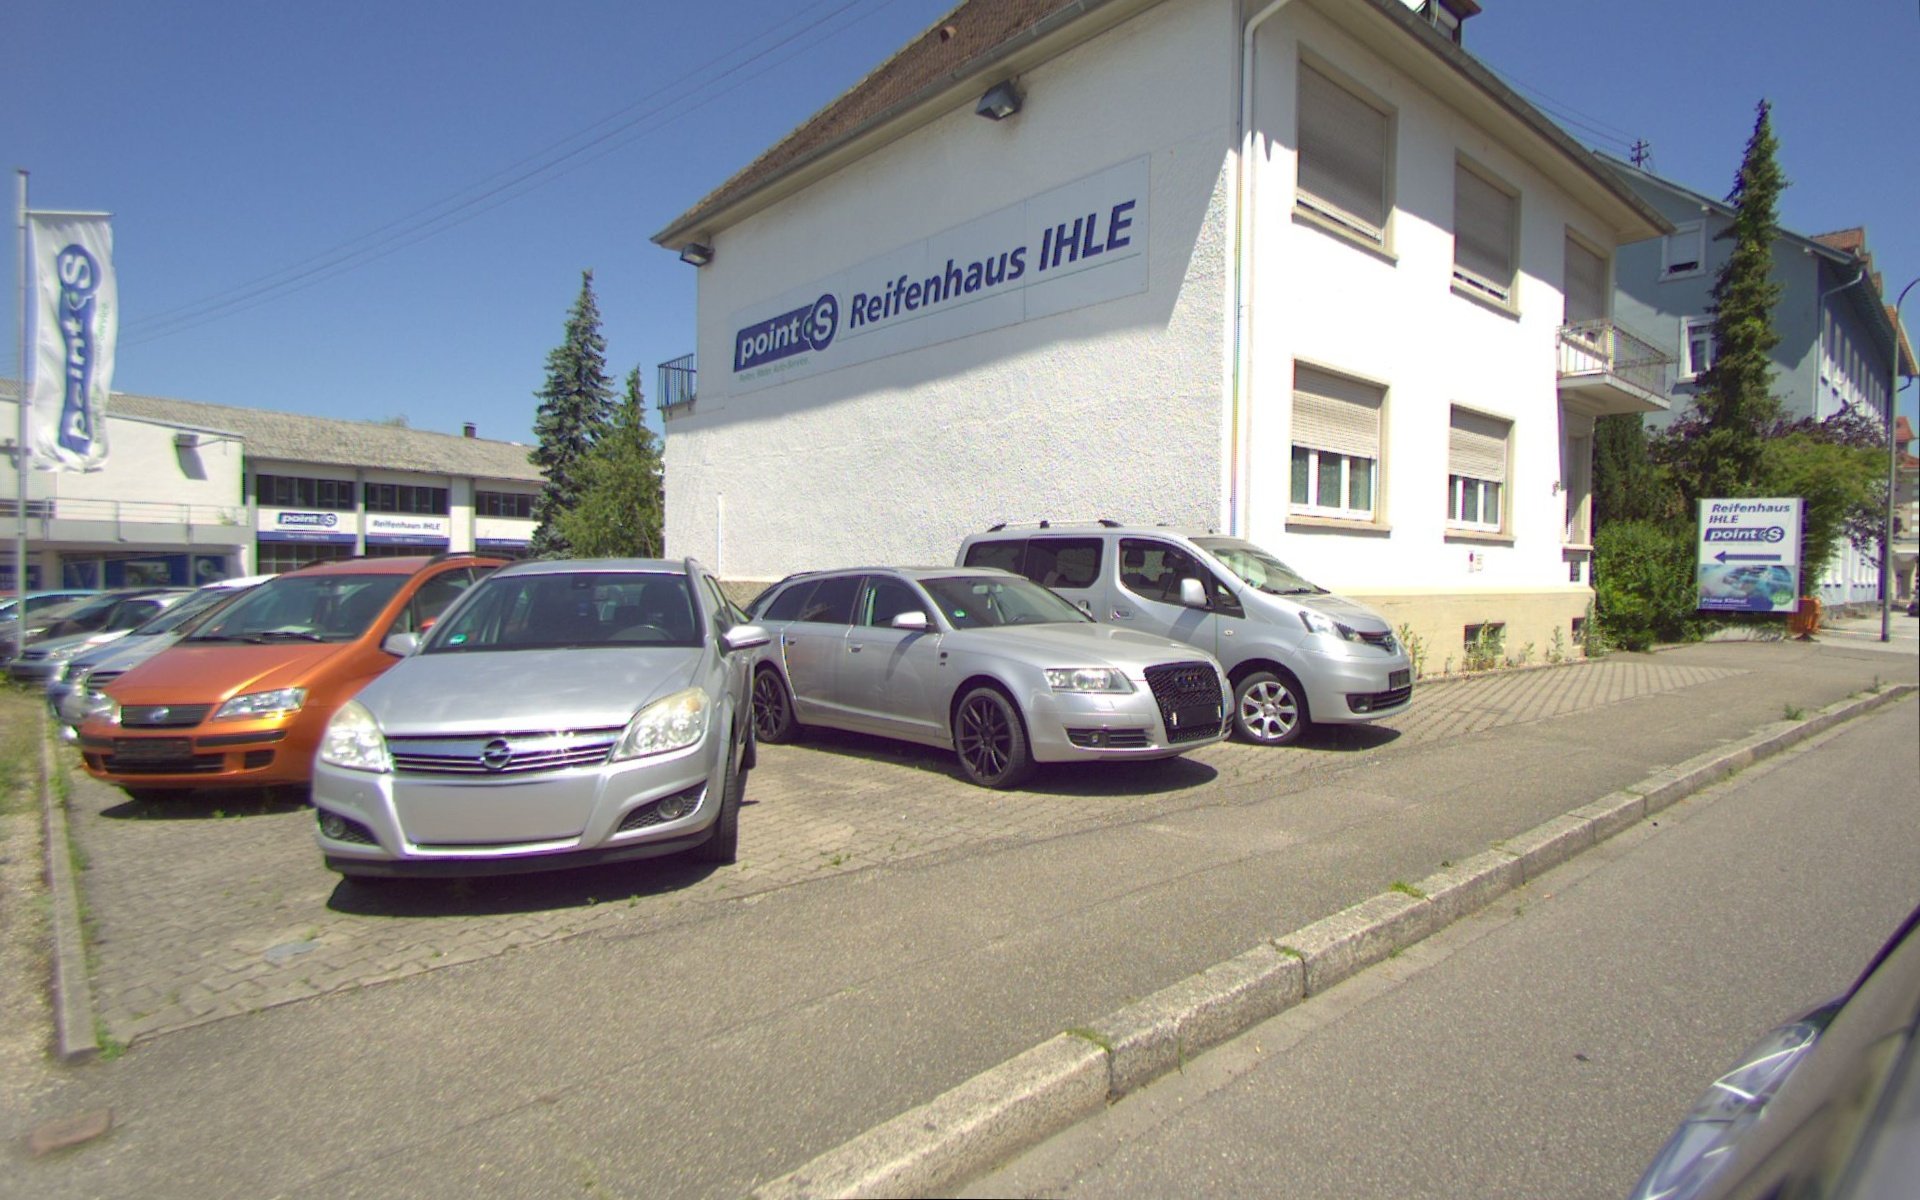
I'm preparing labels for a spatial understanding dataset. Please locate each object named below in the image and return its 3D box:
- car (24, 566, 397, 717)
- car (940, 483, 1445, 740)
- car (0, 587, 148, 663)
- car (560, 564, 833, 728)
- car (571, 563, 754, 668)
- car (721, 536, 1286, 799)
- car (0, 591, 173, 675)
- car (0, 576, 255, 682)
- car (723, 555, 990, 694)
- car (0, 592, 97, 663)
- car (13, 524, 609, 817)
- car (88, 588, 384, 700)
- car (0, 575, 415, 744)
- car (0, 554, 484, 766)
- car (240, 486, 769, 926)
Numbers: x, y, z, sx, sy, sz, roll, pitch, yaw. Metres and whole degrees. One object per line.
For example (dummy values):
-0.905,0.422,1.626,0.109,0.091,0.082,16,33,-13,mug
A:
-9.928,0.486,13.755,1.606,1.746,3.815,-1,0,23,car
1.965,0.104,9.400,4.286,1.854,1.713,-1,-1,41,car
-19.874,0.514,21.518,1.653,1.551,3.740,-1,0,31,car
-3.160,0.379,11.514,1.960,1.504,4.004,-1,1,-31,car
-5.025,0.171,16.729,1.960,1.504,4.004,-1,1,-31,car
-0.011,0.387,7.860,1.737,1.427,4.649,0,-1,-39,car
-17.954,0.619,19.787,1.650,1.551,3.746,-1,0,26,car
-15.390,0.462,18.368,1.757,1.699,3.918,0,0,26,car
-1.511,0.215,13.185,1.960,1.504,4.004,-1,1,-31,car
-21.735,0.619,22.374,1.653,1.551,3.740,-1,0,31,car
-4.512,0.373,7.974,1.610,1.662,4.298,-1,1,6,car
-11.250,0.635,15.984,1.538,1.551,3.534,-2,-1,23,car
-8.357,0.540,11.527,1.602,1.582,3.754,-1,1,16,car
-6.575,0.439,9.714,1.684,1.582,4.112,-1,1,7,car
-2.062,0.349,5.891,1.720,1.567,4.311,-1,1,-9,car
